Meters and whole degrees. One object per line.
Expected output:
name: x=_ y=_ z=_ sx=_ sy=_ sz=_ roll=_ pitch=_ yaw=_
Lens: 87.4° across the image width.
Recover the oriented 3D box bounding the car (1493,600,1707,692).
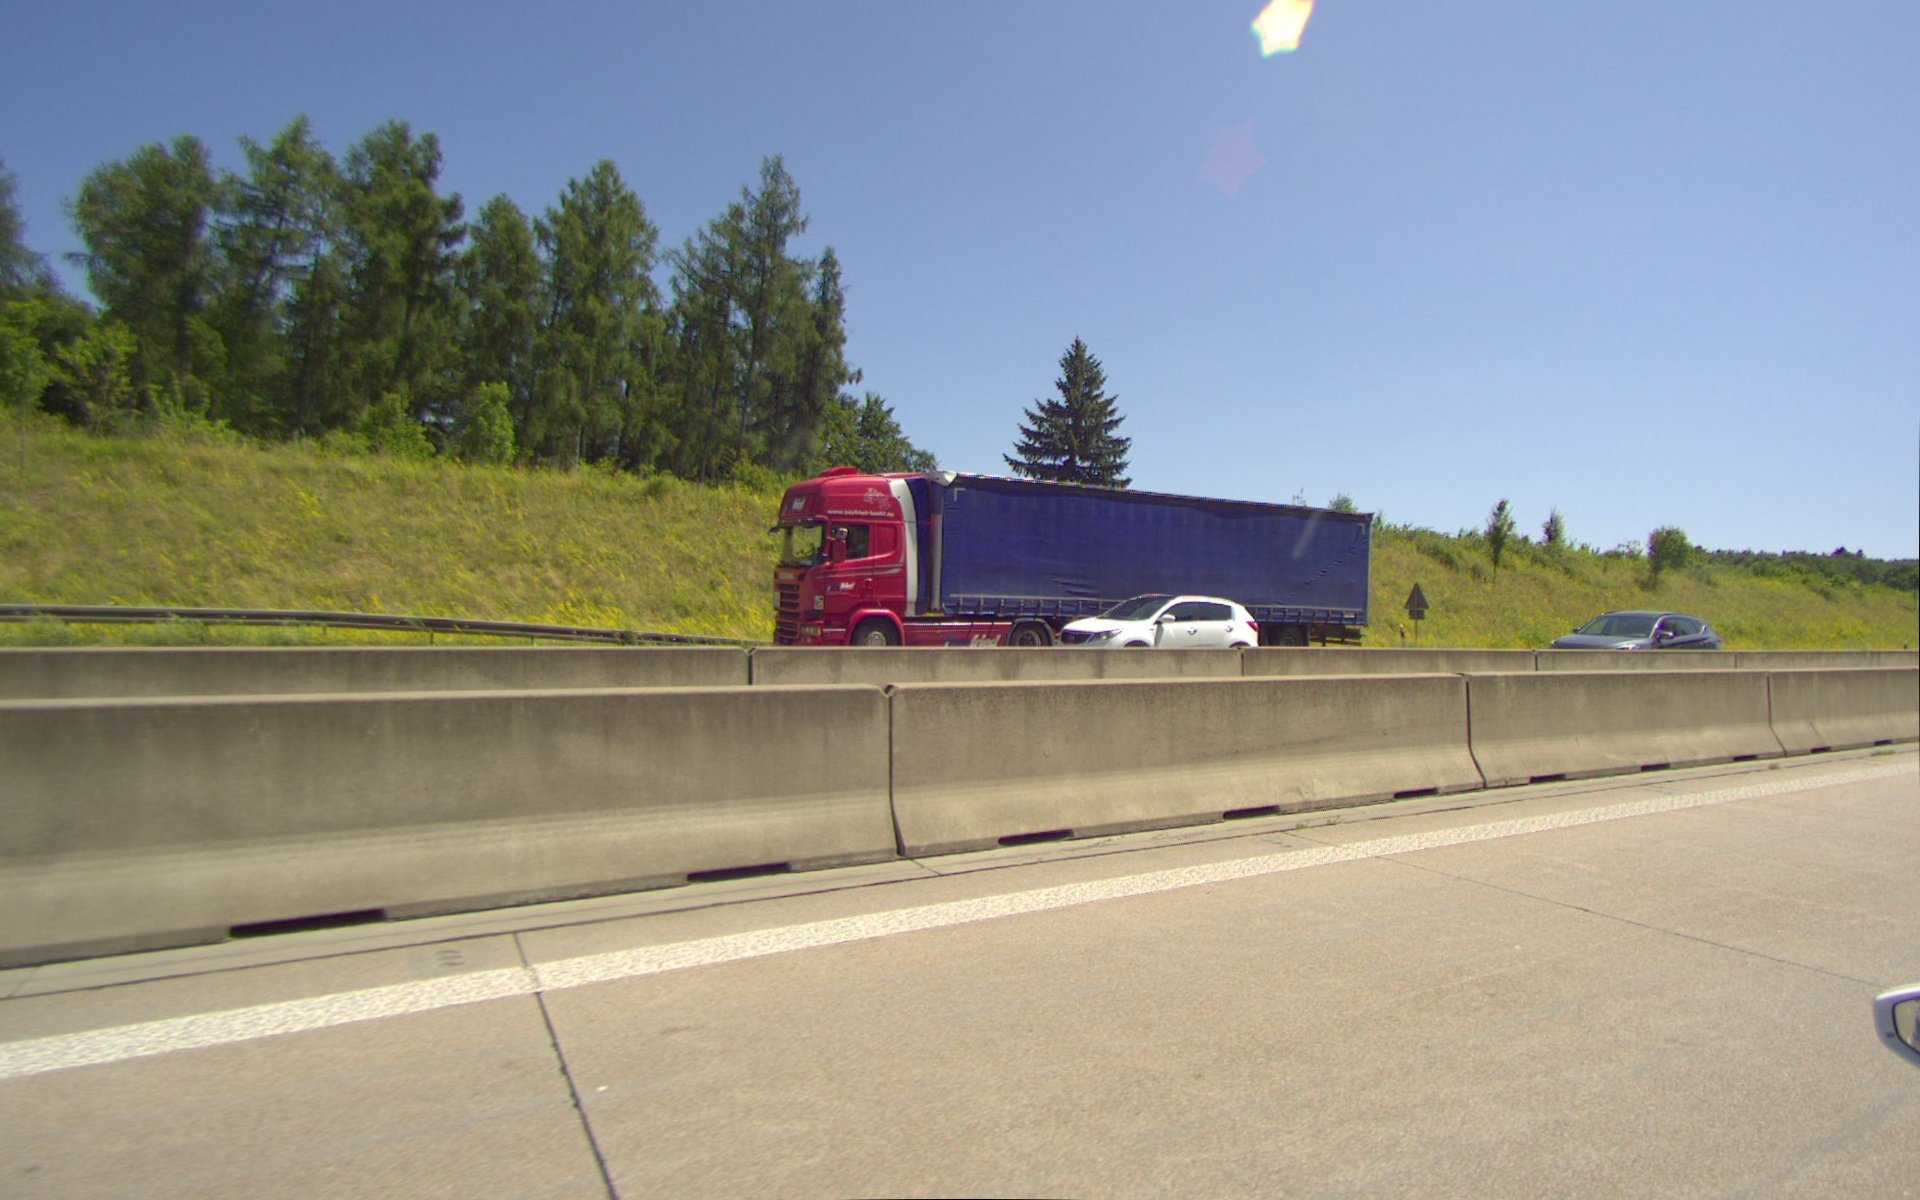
car: x=13.317 y=0.920 z=20.850 sx=4.320 sy=1.715 sz=1.984 roll=2 pitch=0 yaw=-30

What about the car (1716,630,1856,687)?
car: x=24.709 y=1.704 z=30.019 sx=3.953 sy=1.539 sz=1.984 roll=2 pitch=-1 yaw=-30

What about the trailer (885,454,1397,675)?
trailer: x=5.084 y=-0.494 z=25.328 sx=13.763 sy=4.490 sz=3.370 roll=2 pitch=0 yaw=-31

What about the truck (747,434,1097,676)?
truck: x=-0.784 y=-0.744 z=21.853 sx=6.722 sy=4.490 sz=3.370 roll=2 pitch=0 yaw=-30

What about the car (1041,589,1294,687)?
car: x=4.109 y=0.712 z=19.700 sx=4.760 sy=1.715 sz=1.984 roll=2 pitch=0 yaw=-30
